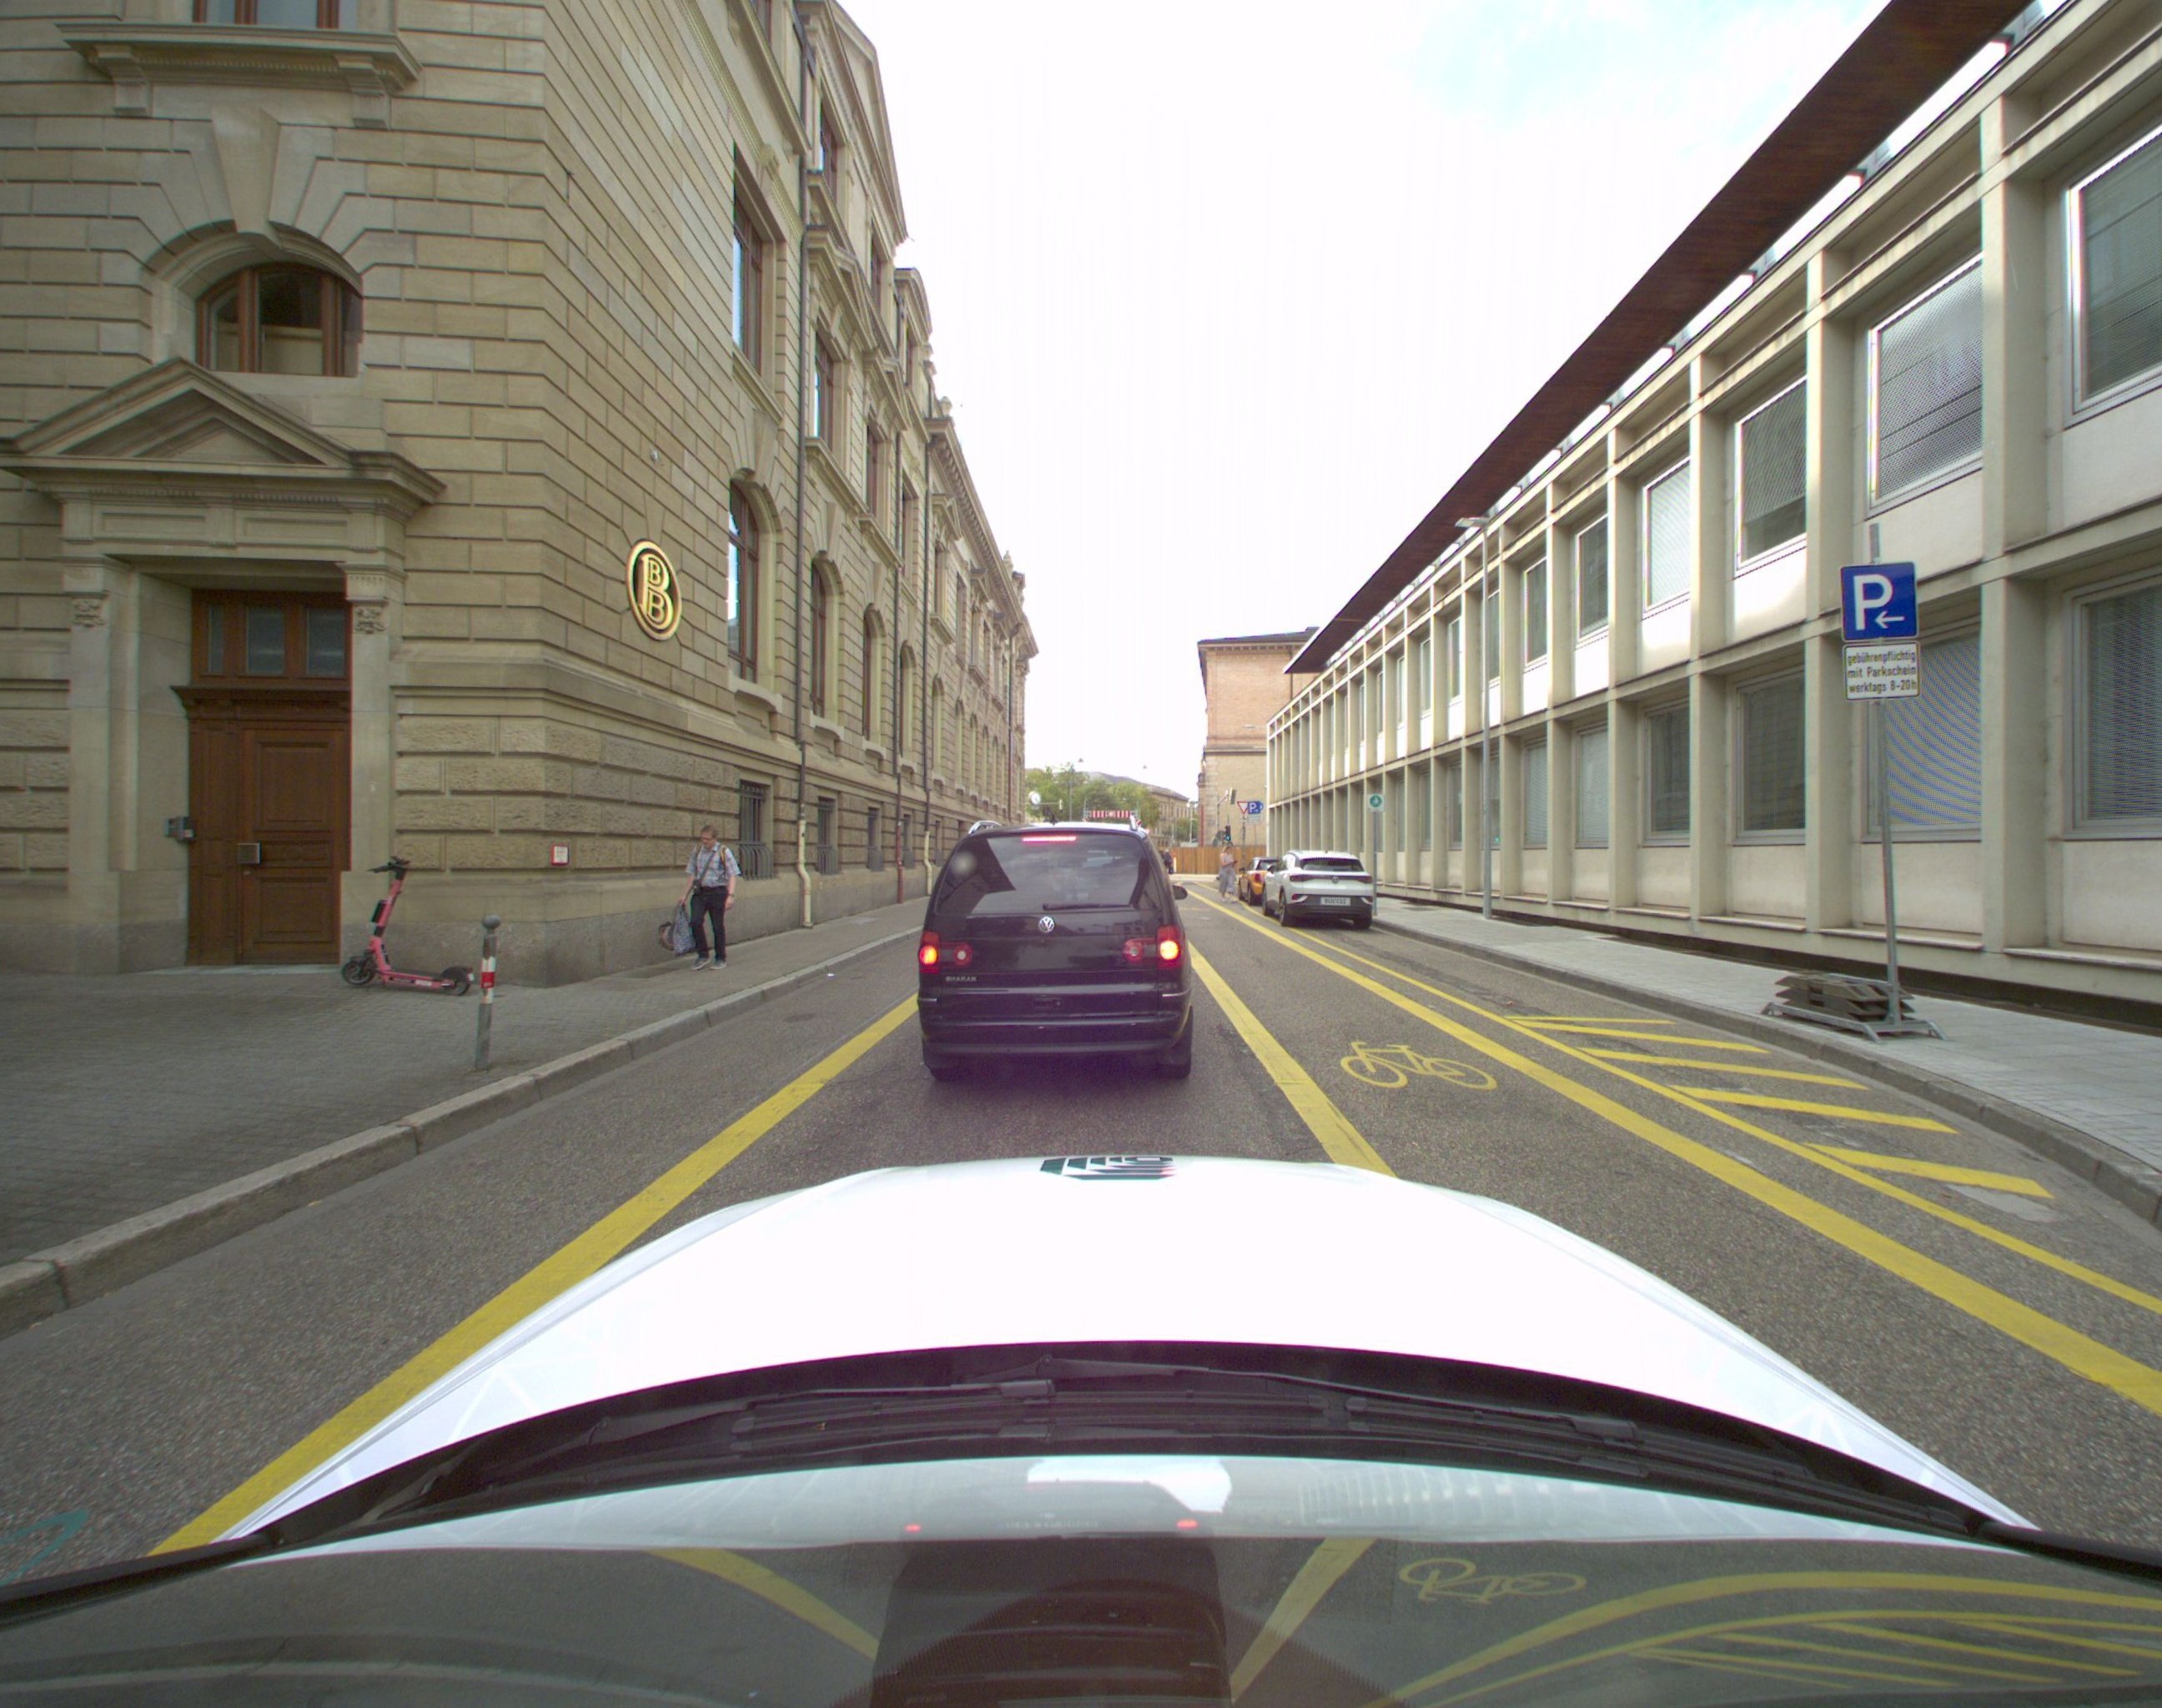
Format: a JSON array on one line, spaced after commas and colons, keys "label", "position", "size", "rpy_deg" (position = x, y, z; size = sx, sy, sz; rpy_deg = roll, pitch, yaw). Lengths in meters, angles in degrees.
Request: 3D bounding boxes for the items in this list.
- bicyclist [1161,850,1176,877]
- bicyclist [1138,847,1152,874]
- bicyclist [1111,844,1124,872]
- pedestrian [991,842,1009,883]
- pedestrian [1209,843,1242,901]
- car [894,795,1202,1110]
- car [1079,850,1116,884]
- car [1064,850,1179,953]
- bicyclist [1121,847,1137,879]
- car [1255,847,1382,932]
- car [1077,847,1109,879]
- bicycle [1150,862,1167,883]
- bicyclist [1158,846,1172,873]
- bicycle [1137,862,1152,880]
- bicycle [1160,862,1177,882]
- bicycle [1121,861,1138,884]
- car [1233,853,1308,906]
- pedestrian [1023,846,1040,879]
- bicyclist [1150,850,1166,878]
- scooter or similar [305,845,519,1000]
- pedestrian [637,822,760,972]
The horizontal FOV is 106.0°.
[{"label": "bicyclist", "position": [4.507, 0.499, 42.058], "size": [0.732, 1.375, 0.832], "rpy_deg": [0, -1, 1]}, {"label": "bicyclist", "position": [3.572, 0.377, 45.808], "size": [0.732, 1.470, 0.809], "rpy_deg": [0, -1, 1]}, {"label": "bicyclist", "position": [2.077, 0.225, 46.127], "size": [0.732, 1.611, 0.695], "rpy_deg": [0, -1, 1]}, {"label": "pedestrian", "position": [-3.668, 0.371, 36.921], "size": [0.661, 1.819, 1.048], "rpy_deg": [2, -1, 2]}, {"label": "pedestrian", "position": [4.462, 0.545, 25.132], "size": [0.708, 1.764, 0.693], "rpy_deg": [0, -1, -33]}, {"label": "car", "position": [-0.029, 0.571, 6.747], "size": [1.781, 1.790, 4.108], "rpy_deg": [0, 0, 5]}, {"label": "car", "position": [0.838, 0.637, 40.400], "size": [1.766, 1.586, 4.001], "rpy_deg": [0, -1, 2]}, {"label": "car", "position": [0.752, 0.697, 13.839], "size": [1.670, 1.469, 4.108], "rpy_deg": [0, 0, 5]}, {"label": "bicyclist", "position": [2.231, 0.434, 37.873], "size": [0.732, 1.478, 0.885], "rpy_deg": [0, -1, 1]}, {"label": "car", "position": [5.229, 0.711, 18.528], "size": [1.851, 1.605, 4.518], "rpy_deg": [3, 0, 5]}, {"label": "car", "position": [0.659, 0.523, 47.415], "size": [1.729, 1.790, 4.101], "rpy_deg": [0, 0, -1]}, {"label": "bicycle", "position": [3.794, 0.892, 39.931], "size": [0.732, 1.009, 2.069], "rpy_deg": [0, -1, 2]}, {"label": "bicyclist", "position": [4.884, 0.334, 47.354], "size": [0.732, 1.555, 0.896], "rpy_deg": [0, -1, 1]}, {"label": "bicycle", "position": [3.563, 0.930, 45.616], "size": [0.732, 1.009, 2.069], "rpy_deg": [0, -1, 2]}, {"label": "bicycle", "position": [4.508, 0.914, 42.070], "size": [0.732, 1.009, 2.069], "rpy_deg": [0, -1, 2]}, {"label": "bicycle", "position": [2.235, 0.846, 37.943], "size": [0.732, 1.009, 2.069], "rpy_deg": [0, -1, 2]}, {"label": "car", "position": [5.754, 0.745, 25.143], "size": [1.672, 1.435, 3.891], "rpy_deg": [3, 0, 5]}, {"label": "pedestrian", "position": [-2.781, 0.468, 45.581], "size": [0.789, 1.819, 1.048], "rpy_deg": [2, -1, 2]}, {"label": "bicyclist", "position": [3.795, 0.500, 40.011], "size": [0.732, 1.377, 0.829], "rpy_deg": [0, -1, 1]}, {"label": "scooter or similar", "position": [-6.183, 0.612, 7.571], "size": [1.441, 1.310, 0.587], "rpy_deg": [3, 1, 0]}, {"label": "pedestrian", "position": [-4.643, 0.503, 9.951], "size": [1.022, 1.720, 0.819], "rpy_deg": [2, -1, 1]}]
